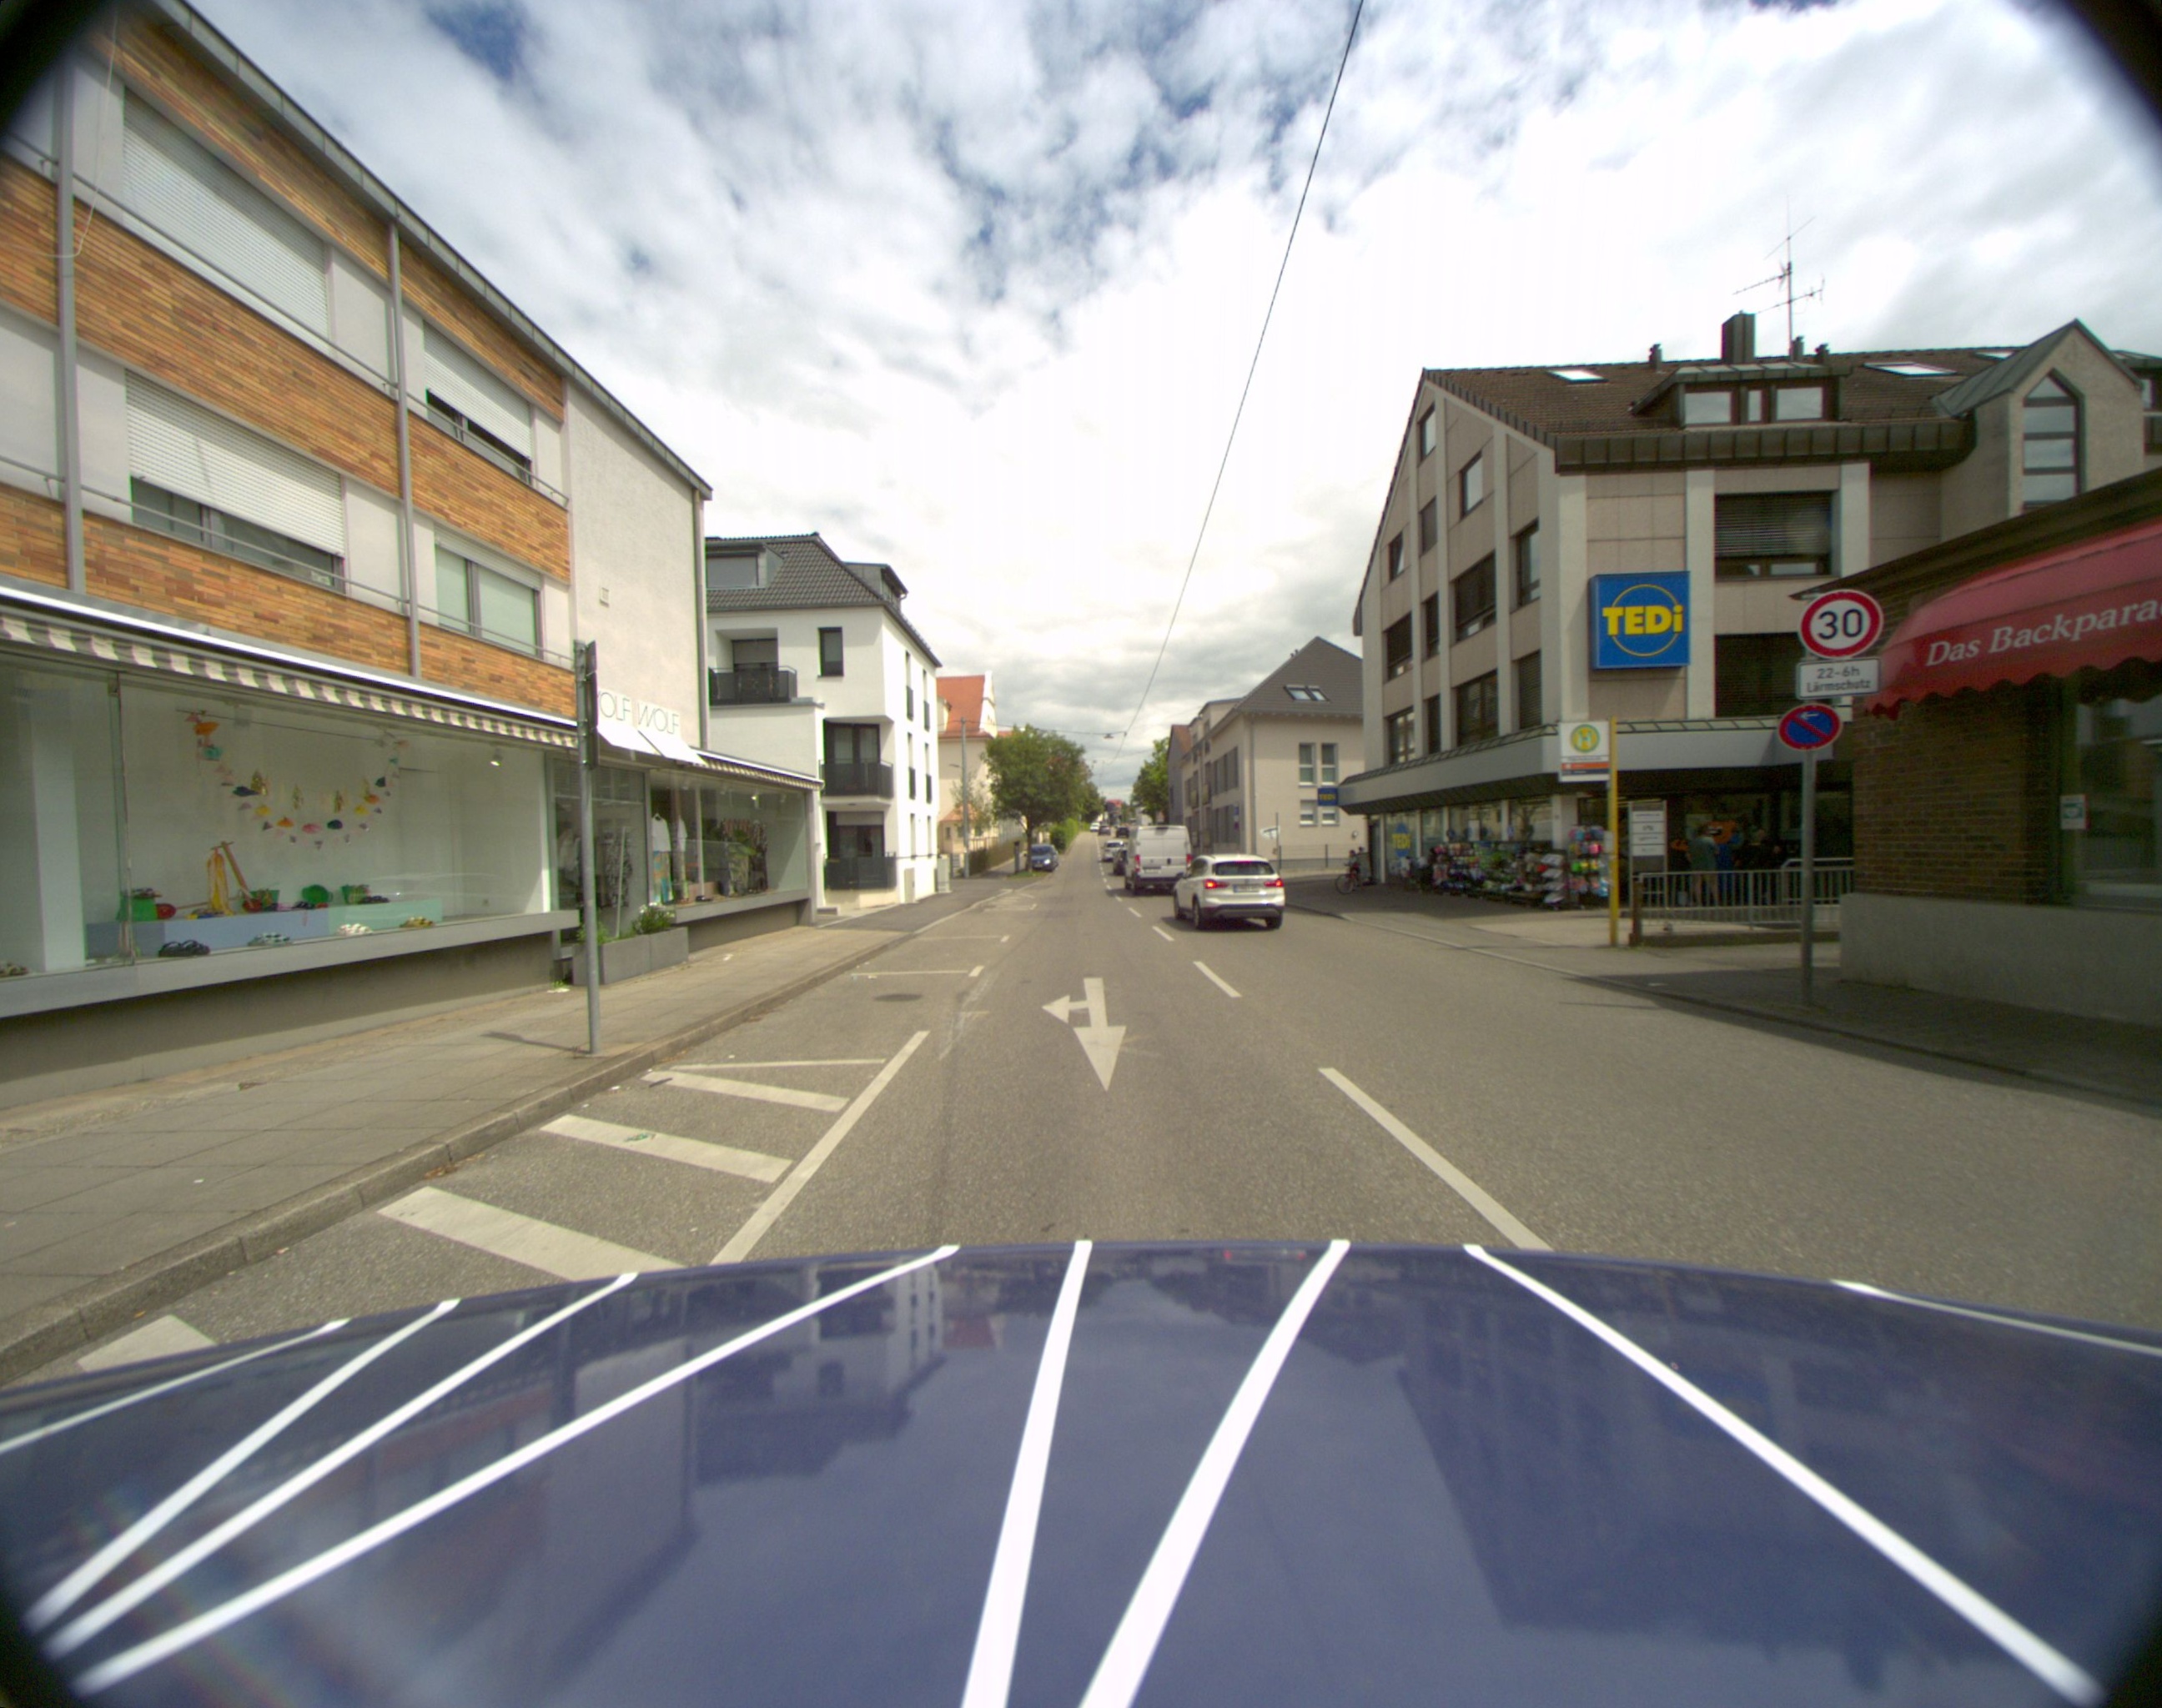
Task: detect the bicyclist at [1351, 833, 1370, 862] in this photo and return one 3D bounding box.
[{"bbox_3d":[12.007,-0.288,32.661,0.640,1.235,0.427,-1,3,34],"label":"bicyclist"}]

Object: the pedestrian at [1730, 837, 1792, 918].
[{"bbox_3d":[13.660,0.450,15.284,0.573,1.550,0.772,-3,3,4],"label":"pedestrian"}]

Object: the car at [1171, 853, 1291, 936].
[{"bbox_3d":[3.265,0.804,17.379,1.785,1.630,4.219,0,1,-2],"label":"car"}]

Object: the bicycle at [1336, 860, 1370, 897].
[{"bbox_3d":[8.821,0.765,24.682,0.444,1.044,1.733,-5,2,1],"label":"bicycle"}]

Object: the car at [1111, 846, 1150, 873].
[{"bbox_3d":[2.811,0.287,43.640,1.796,1.502,3.843,-1,1,-3],"label":"car"}]

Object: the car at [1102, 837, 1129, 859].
[{"bbox_3d":[2.673,-0.499,59.682,1.779,1.604,4.118,0,1,-1],"label":"car"}]

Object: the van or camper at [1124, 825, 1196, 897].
[{"bbox_3d":[2.971,0.262,29.803,2.154,2.541,5.437,-1,0,-1],"label":"van or camper"}]

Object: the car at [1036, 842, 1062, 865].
[{"bbox_3d":[-2.330,-0.046,55.761,1.677,1.511,3.669,-1,2,1],"label":"car"}]

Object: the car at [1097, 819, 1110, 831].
[{"bbox_3d":[3.583,-4.589,120.987,1.946,1.709,4.596,-1,1,0],"label":"car"}]

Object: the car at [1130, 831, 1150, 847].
[{"bbox_3d":[6.016,-1.572,77.896,1.737,1.480,4.064,-1,4,1],"label":"car"}]

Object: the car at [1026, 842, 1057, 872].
[{"bbox_3d":[-2.513,0.139,49.401,1.698,1.733,4.158,-1,2,1],"label":"car"}]

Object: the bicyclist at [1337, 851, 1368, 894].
[{"bbox_3d":[8.843,0.588,24.794,0.669,1.330,0.761,-5,2,1],"label":"bicyclist"}]

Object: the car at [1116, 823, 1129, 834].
[{"bbox_3d":[6.075,-3.763,110.816,1.672,1.546,3.963,-1,4,1],"label":"car"}]
